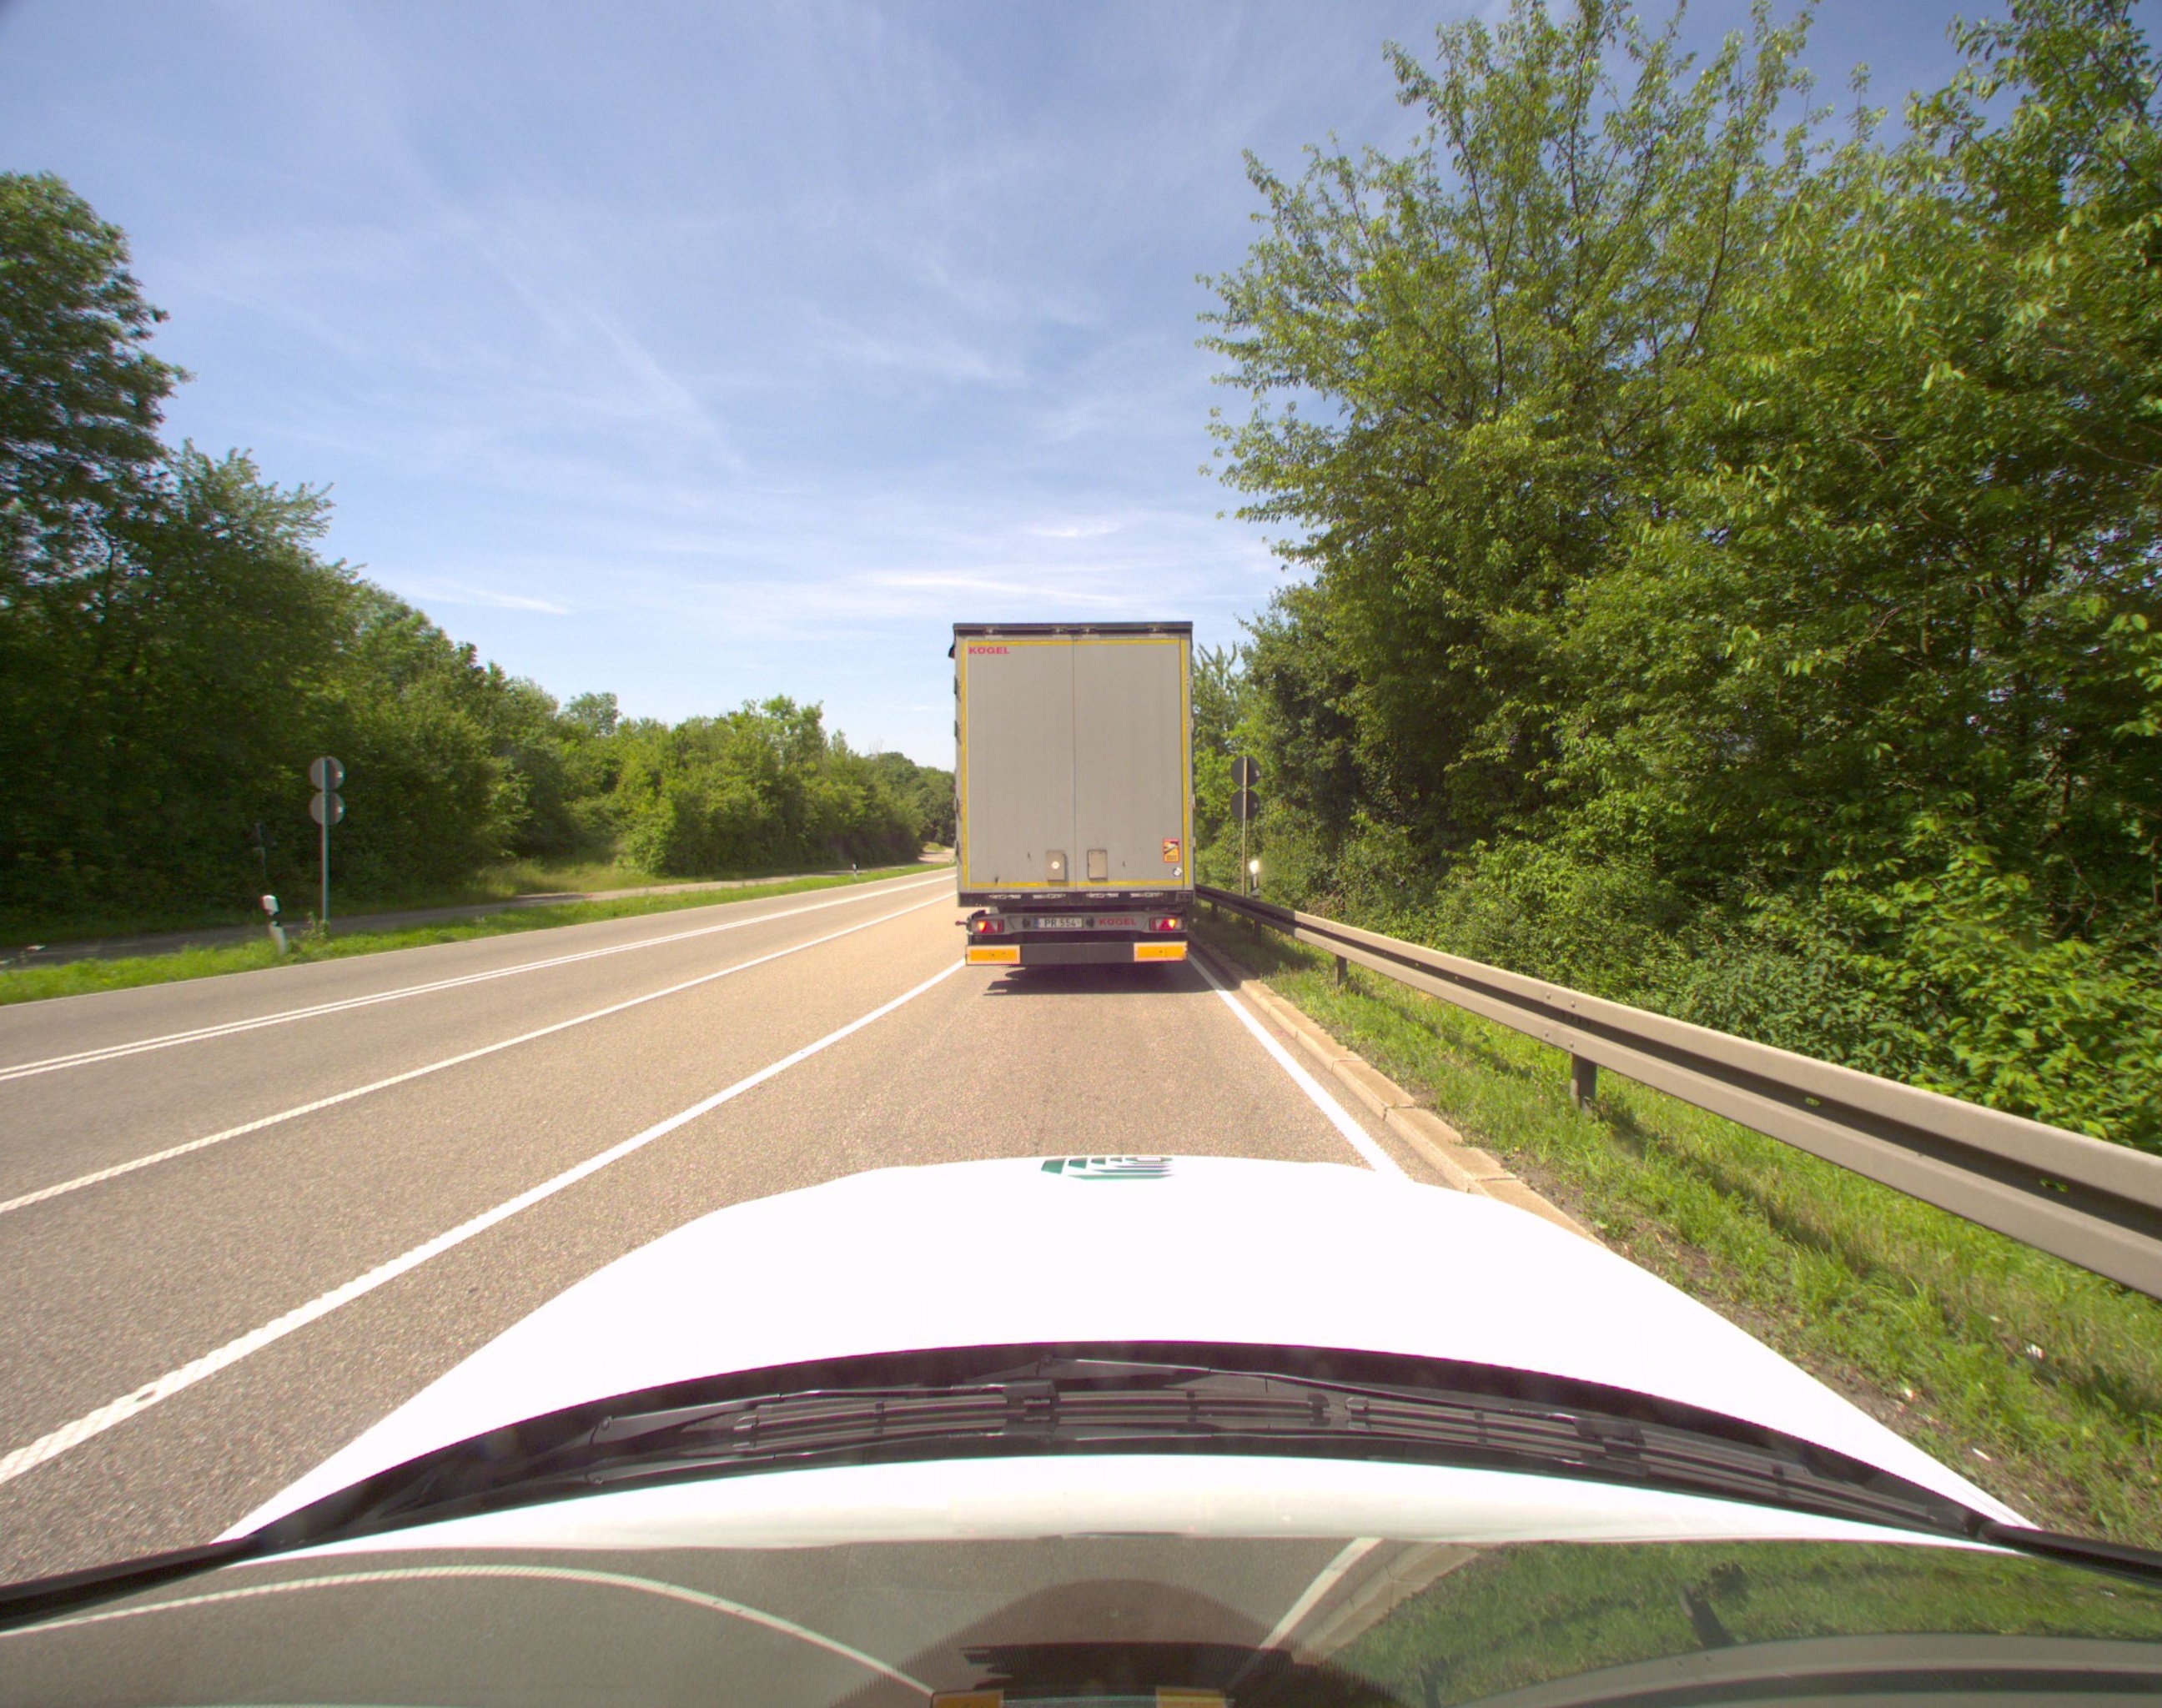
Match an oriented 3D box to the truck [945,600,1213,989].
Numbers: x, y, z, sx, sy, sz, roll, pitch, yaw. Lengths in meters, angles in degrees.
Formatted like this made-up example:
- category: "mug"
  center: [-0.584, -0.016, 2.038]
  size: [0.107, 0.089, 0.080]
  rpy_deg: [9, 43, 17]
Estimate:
- category: "truck"
  center: [0.092, -0.636, 14.458]
  size: [2.747, 4.029, 11.926]
  rpy_deg: [-1, 0, 1]
